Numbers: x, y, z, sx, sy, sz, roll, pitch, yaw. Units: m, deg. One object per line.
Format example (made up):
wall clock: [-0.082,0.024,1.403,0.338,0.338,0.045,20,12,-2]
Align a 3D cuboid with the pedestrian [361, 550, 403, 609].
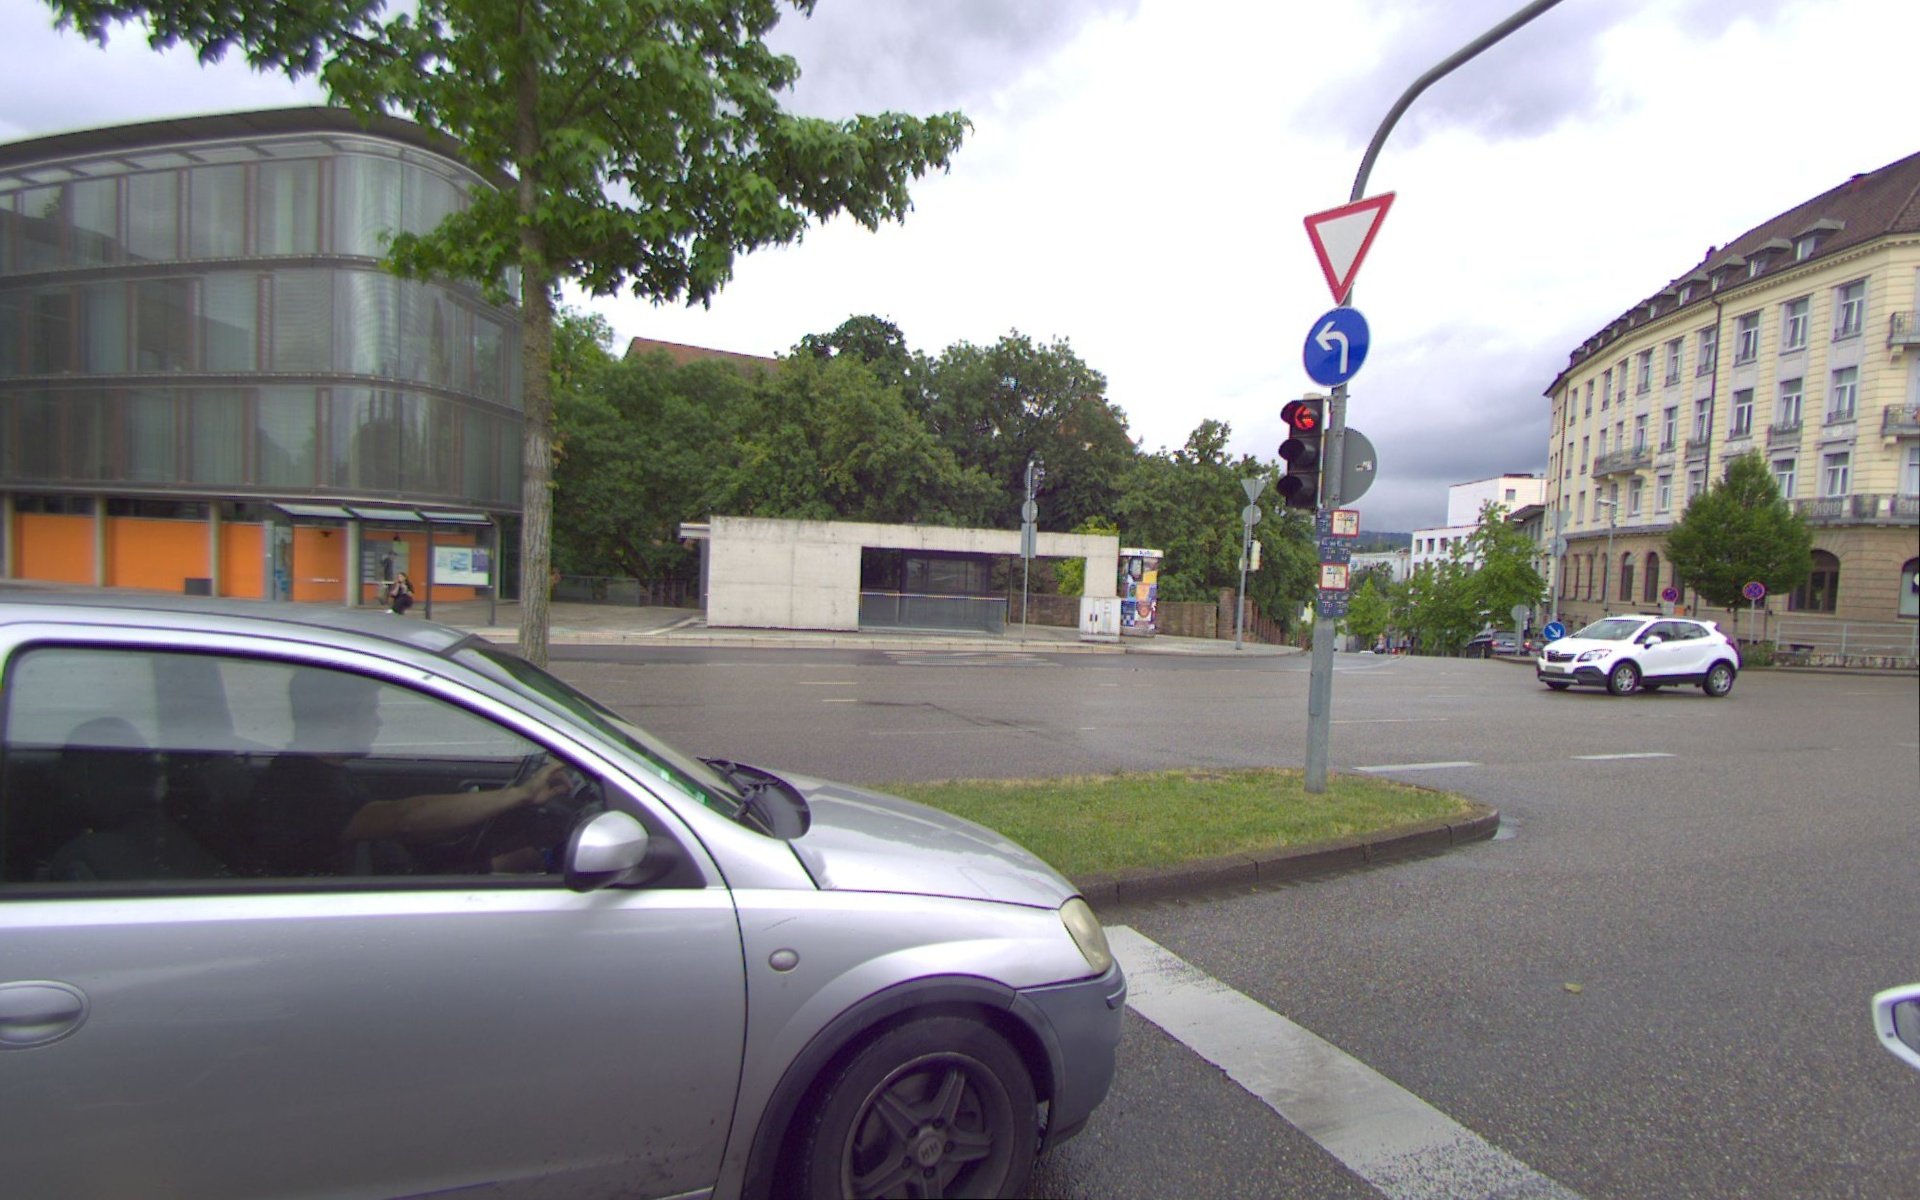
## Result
pedestrian: [-17.735,-0.632,30.850,0.809,1.780,0.786,2,2,3]

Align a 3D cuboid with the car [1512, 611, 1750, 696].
car: [14.300,1.130,21.480,4.137,1.639,1.956,2,0,-14]

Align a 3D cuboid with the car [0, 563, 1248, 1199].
car: [-1.364,0.699,2.343,3.668,1.485,1.690,2,0,-24]

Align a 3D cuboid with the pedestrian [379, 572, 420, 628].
pedestrian: [-13.517,-0.005,24.239,0.708,1.316,0.666,2,0,-17]

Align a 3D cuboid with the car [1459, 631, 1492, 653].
car: [39.800,3.227,77.649,1.735,1.498,4.000,2,0,19]

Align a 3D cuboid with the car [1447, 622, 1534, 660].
car: [23.258,1.766,44.231,1.666,1.485,4.454,2,0,4]

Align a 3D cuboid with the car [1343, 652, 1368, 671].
car: [33.915,5.278,86.138,1.605,1.416,3.995,2,0,27]

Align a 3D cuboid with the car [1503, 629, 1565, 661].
car: [30.106,2.352,52.766,1.734,1.498,4.002,2,0,14]
